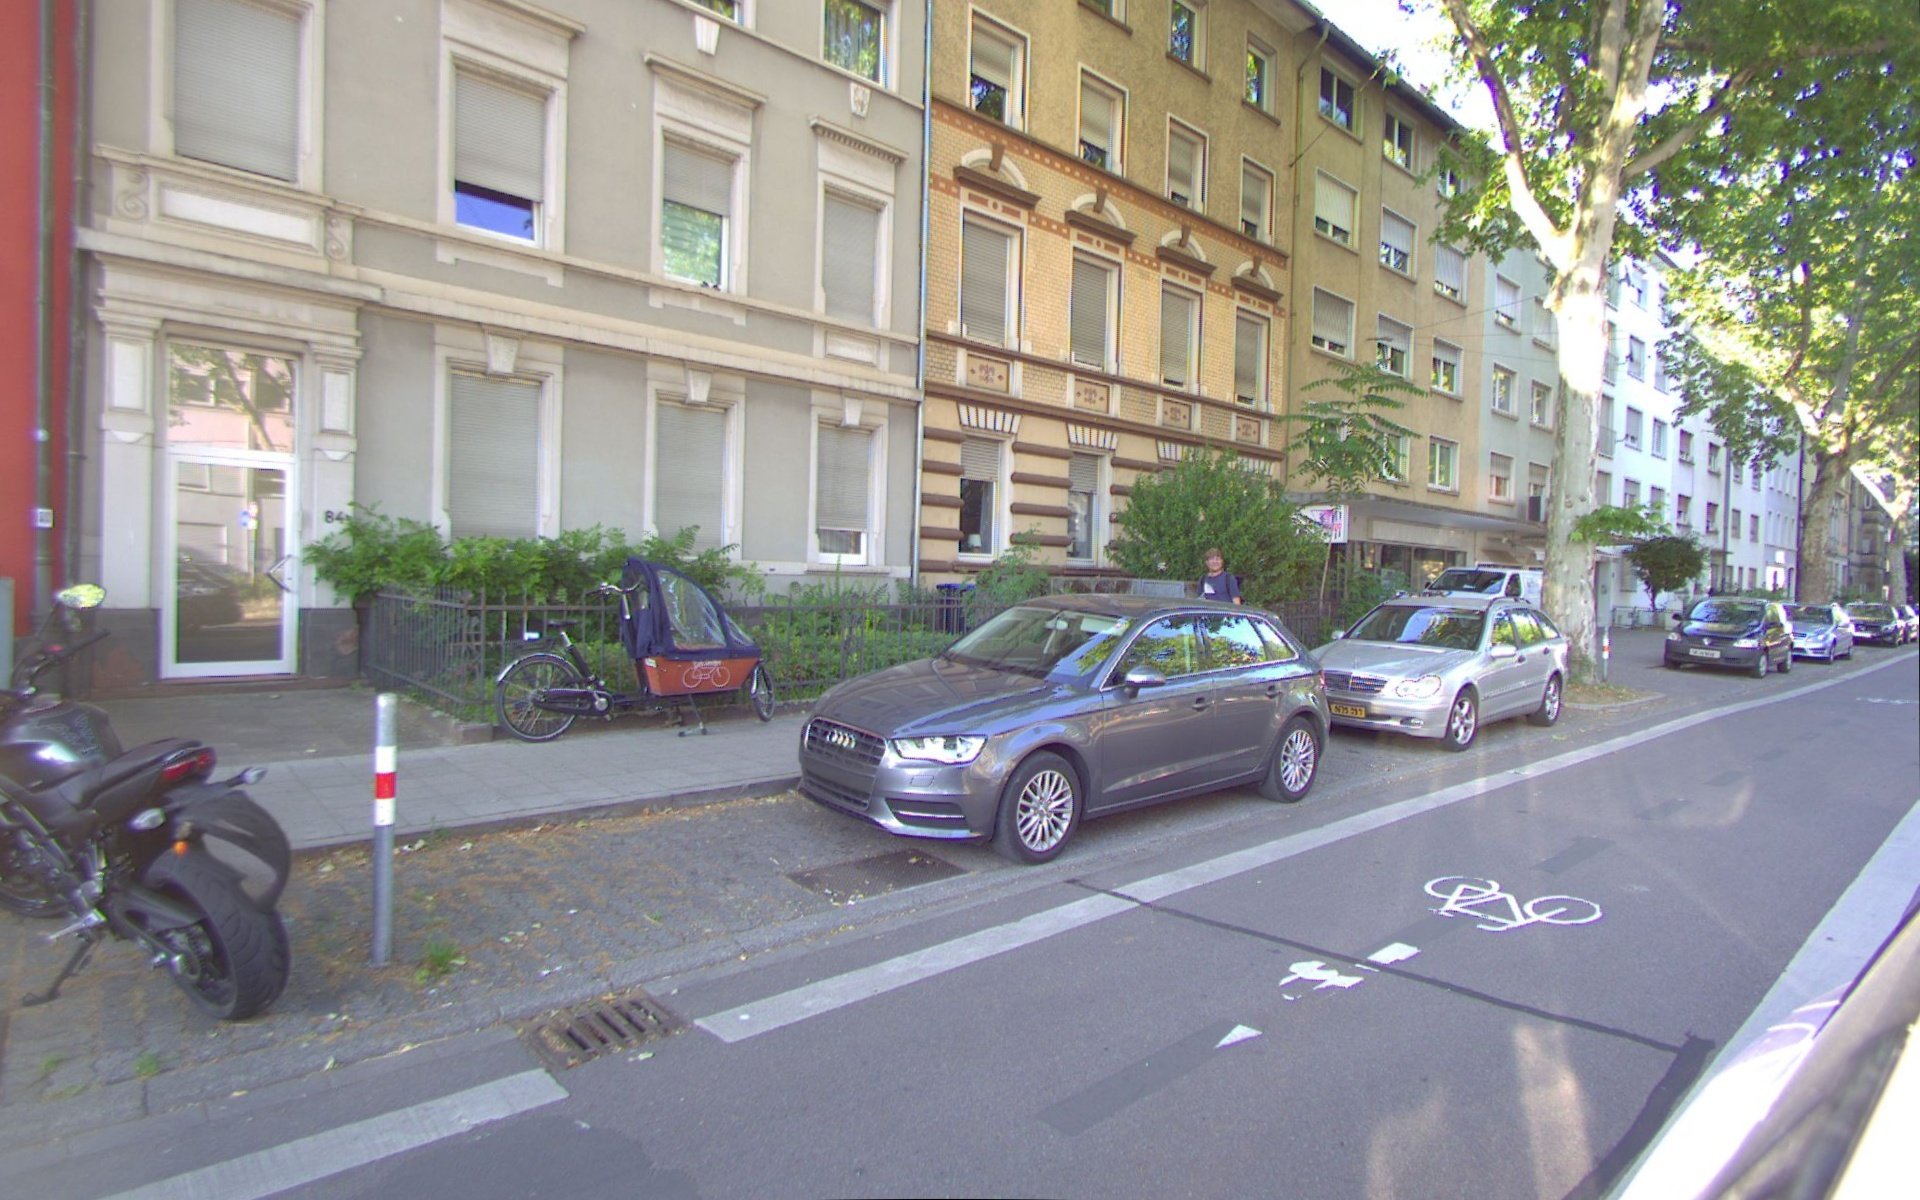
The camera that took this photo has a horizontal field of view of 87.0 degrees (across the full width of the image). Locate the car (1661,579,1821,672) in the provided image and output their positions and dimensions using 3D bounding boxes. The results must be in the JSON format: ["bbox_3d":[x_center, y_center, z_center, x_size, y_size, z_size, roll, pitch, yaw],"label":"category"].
[{"bbox_3d":[16.166,0.450,20.871,4.295,1.628,1.802,0,4,-42],"label":"car"}]

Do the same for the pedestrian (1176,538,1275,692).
[{"bbox_3d":[3.169,0.153,12.084,0.802,1.731,0.728,-1,4,-41],"label":"pedestrian"}]

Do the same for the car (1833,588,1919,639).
[{"bbox_3d":[31.358,0.429,34.530,4.295,1.520,1.802,0,4,-42],"label":"car"}]

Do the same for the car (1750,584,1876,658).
[{"bbox_3d":[21.804,0.470,25.822,4.295,1.628,1.802,0,4,-42],"label":"car"}]

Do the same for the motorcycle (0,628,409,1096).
[{"bbox_3d":[-3.034,0.757,3.570,2.188,1.124,0.659,4,2,23],"label":"motorcycle"}]

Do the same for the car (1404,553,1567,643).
[{"bbox_3d":[12.783,-0.076,24.483,4.597,1.897,1.932,0,4,-42],"label":"car"}]

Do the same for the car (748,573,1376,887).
[{"bbox_3d":[0.916,0.604,6.960,4.293,1.418,1.802,0,4,-41],"label":"car"}]

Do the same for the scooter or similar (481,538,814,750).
[{"bbox_3d":[-2.432,0.296,8.164,2.500,1.488,0.666,0,2,-41],"label":"scooter or similar"}]

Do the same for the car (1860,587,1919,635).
[{"bbox_3d":[35.445,0.387,38.085,4.295,1.628,1.802,0,4,-42],"label":"car"}]

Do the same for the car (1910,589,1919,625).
[{"bbox_3d":[46.702,0.379,48.119,4.034,1.628,1.802,0,4,-42],"label":"car"}]

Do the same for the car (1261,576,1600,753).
[{"bbox_3d":[5.315,0.547,11.137,4.436,1.472,1.801,0,4,-43],"label":"car"}]
